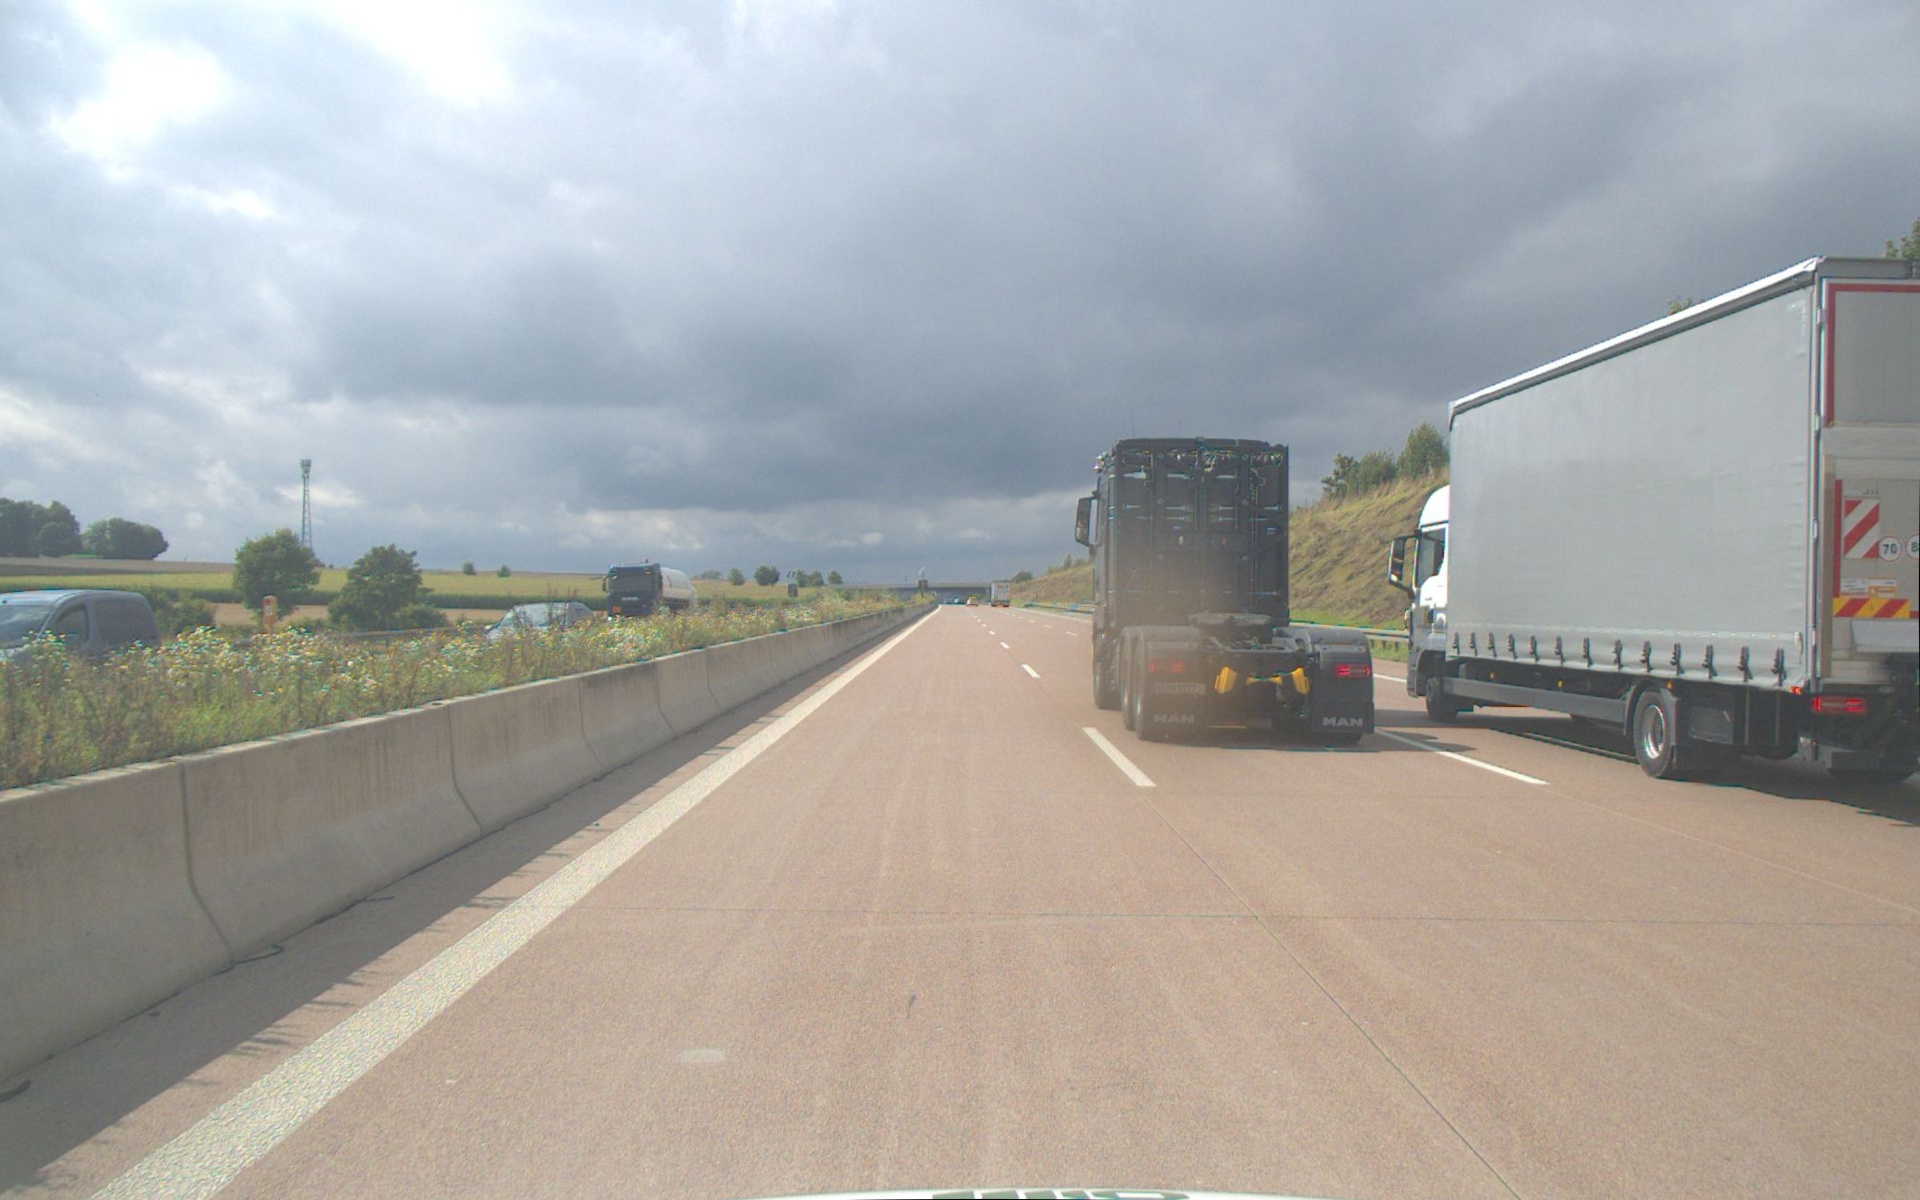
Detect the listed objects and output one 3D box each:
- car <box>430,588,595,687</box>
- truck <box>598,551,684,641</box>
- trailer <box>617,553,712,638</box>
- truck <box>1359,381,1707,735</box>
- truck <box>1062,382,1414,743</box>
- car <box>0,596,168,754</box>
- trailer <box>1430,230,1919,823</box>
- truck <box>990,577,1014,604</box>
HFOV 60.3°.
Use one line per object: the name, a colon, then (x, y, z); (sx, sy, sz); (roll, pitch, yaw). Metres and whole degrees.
car: (-8.569, 0.663, 32.082); (1.953, 1.729, 4.598); (-2, 0, -1)
truck: (-15.643, -0.203, 81.587); (2.832, 4.170, 6.335); (-2, 0, 1)
trailer: (-15.575, -0.246, 88.052); (2.832, 4.170, 11.037); (-2, 0, 1)
truck: (7.047, -0.469, 21.020); (2.693, 3.960, 4.544); (1, 0, -2)
truck: (3.076, -0.368, 20.910); (2.790, 3.612, 8.316); (1, 0, -2)
car: (-11.588, 0.846, 20.022); (1.953, 1.729, 4.255); (-2, 0, -1)
trailer: (7.221, -0.480, 15.789); (2.692, 4.082, 8.667); (1, 0, -2)
truck: (6.637, -1.517, 262.017); (3.543, 4.014, 11.174); (2, 1, 0)
